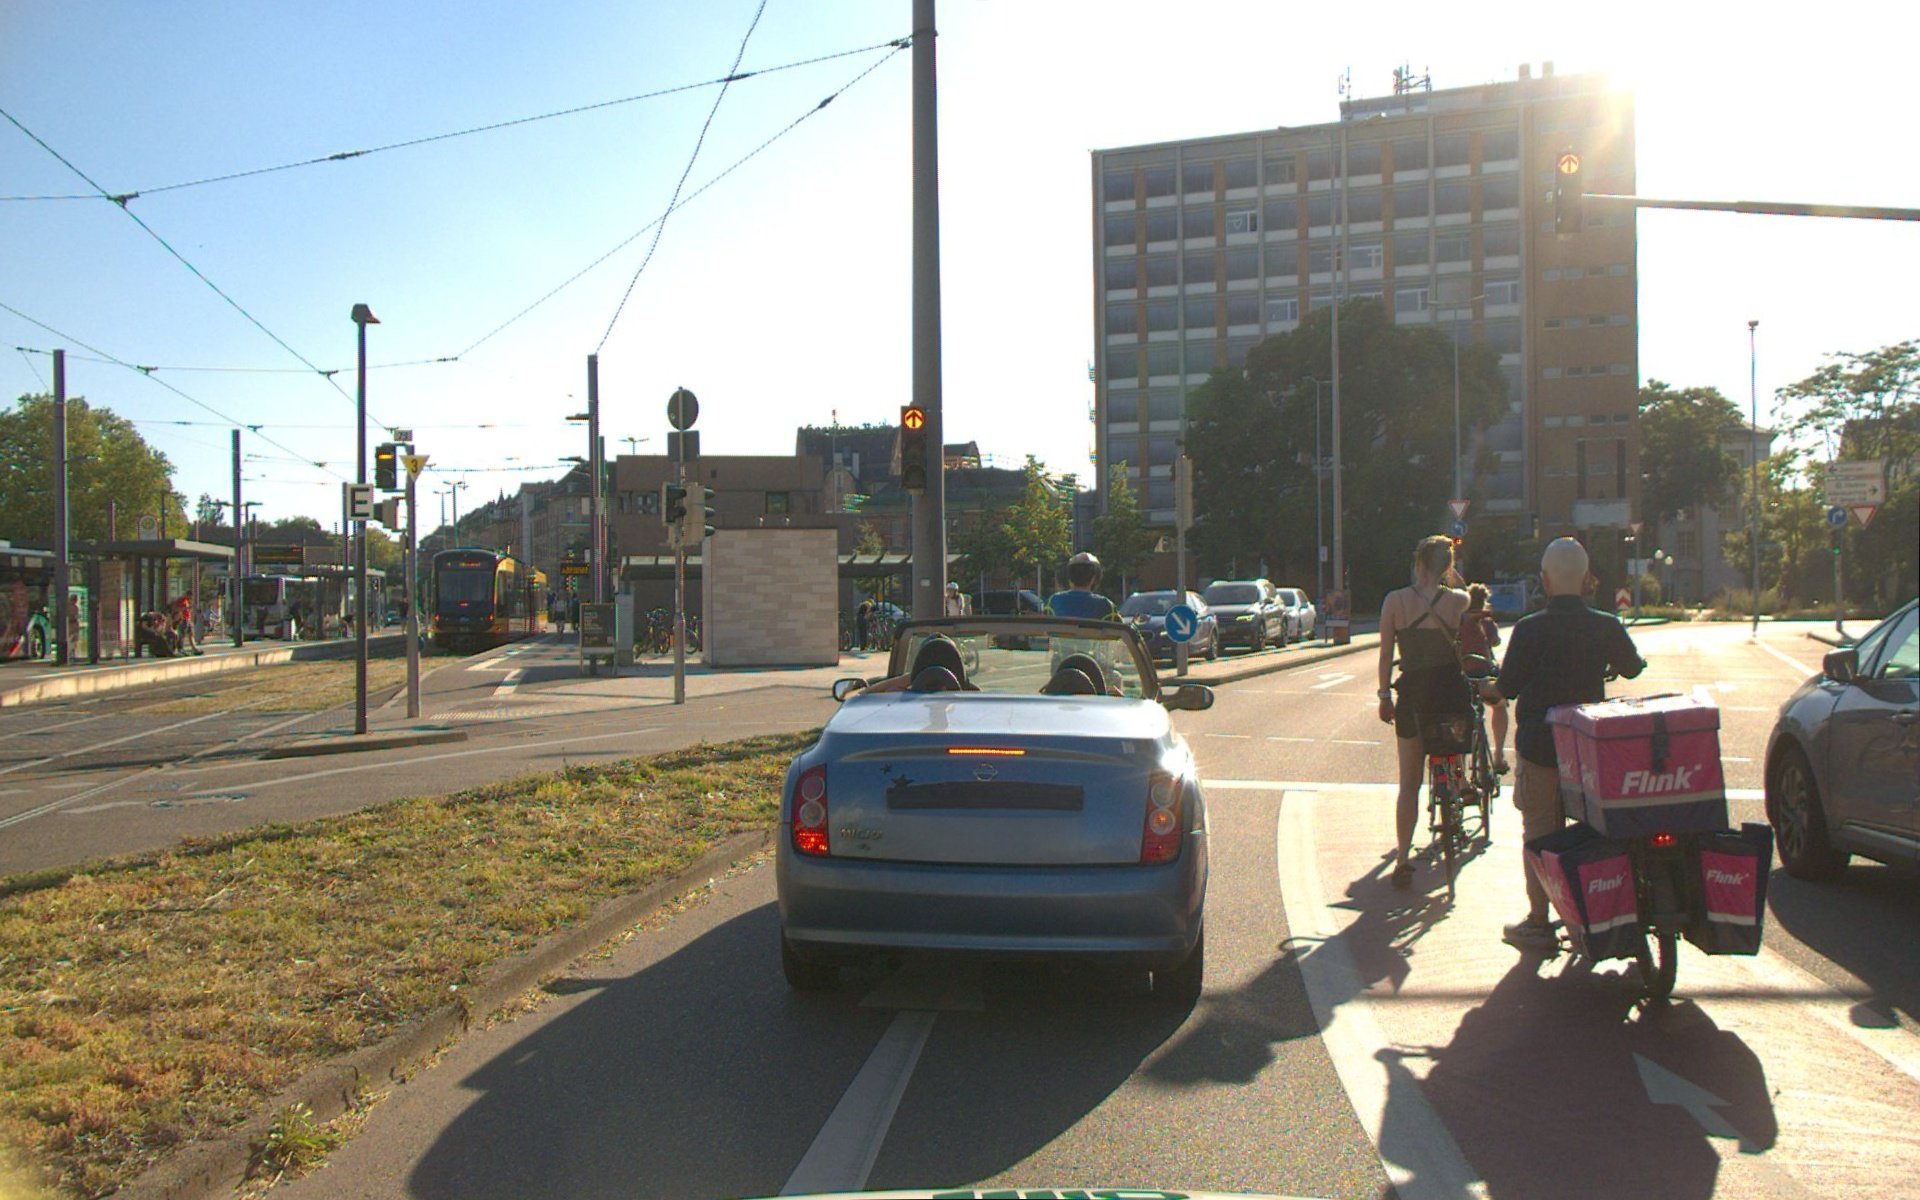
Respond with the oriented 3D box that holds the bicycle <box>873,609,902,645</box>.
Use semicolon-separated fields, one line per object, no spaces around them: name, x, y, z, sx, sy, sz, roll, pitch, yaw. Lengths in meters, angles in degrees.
bicycle;-2.338;0.867;53.190;0.596;1.134;1.890;1;0;-13

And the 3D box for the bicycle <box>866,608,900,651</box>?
bicycle;-2.111;0.783;45.216;0.596;1.134;1.890;1;0;-13

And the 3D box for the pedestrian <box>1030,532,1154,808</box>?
pedestrian;0.968;0.486;11.968;0.815;1.901;0.921;1;-1;8

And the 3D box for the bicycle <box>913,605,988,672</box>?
bicycle;-0.156;0.712;31.448;0.660;1.201;2.183;-1;0;21

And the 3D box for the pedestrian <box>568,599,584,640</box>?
pedestrian;-16.957;0.853;73.041;0.628;1.779;0.732;-1;0;-19

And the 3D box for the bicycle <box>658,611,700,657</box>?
bicycle;-7.184;0.857;42.339;0.594;1.134;1.898;1;0;5

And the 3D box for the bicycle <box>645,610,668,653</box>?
bicycle;-8.424;0.861;45.850;0.596;1.134;1.891;1;0;-11

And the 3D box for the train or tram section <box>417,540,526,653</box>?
train or tram section;-17.646;-0.105;60.409;2.831;3.659;12.161;1;0;-12

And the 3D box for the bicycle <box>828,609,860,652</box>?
bicycle;-3.162;0.824;45.058;0.596;1.134;1.890;1;0;-13

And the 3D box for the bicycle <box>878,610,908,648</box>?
bicycle;-2.088;0.886;51.222;0.596;1.134;1.890;1;0;-13

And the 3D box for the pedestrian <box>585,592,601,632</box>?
pedestrian;-16.327;0.528;73.557;0.628;1.779;0.732;-1;0;-19

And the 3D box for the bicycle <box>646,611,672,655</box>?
bicycle;-7.993;0.860;43.931;0.596;1.134;1.890;1;0;-13

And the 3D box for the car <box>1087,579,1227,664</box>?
car;4.072;0.425;33.685;1.702;1.601;3.921;1;0;25

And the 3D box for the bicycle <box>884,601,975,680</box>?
bicycle;-0.505;0.676;28.830;0.660;1.272;2.457;-3;-1;21

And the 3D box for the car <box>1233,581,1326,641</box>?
car;9.012;0.281;46.459;1.661;1.588;3.977;-1;0;25

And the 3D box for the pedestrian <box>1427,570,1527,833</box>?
pedestrian;3.381;0.631;10.852;0.575;1.626;1.025;1;-1;16

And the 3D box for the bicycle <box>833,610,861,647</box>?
bicycle;-3.624;0.898;52.963;0.596;1.134;1.890;1;0;-13

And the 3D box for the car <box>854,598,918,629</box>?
car;-3.984;0.741;88.612;1.629;1.588;3.549;-1;0;-39

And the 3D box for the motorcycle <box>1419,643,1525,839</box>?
motorcycle;3.419;0.874;11.114;0.600;1.117;2.361;1;0;16

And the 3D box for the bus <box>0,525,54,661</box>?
bus;-23.562;-0.177;37.172;2.606;3.190;9.619;1;0;-10

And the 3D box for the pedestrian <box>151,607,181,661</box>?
pedestrian;-20.094;0.857;41.869;0.606;1.364;0.438;-1;0;-18

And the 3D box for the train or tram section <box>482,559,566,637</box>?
train or tram section;-22.045;-0.068;84.258;2.984;3.659;12.024;1;0;-10

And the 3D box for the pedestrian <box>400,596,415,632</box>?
pedestrian;-27.031;0.688;80.916;0.630;1.779;0.567;-1;0;-27

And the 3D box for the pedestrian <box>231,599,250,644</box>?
pedestrian;-29.144;0.873;66.996;0.630;1.779;0.567;-1;0;-27

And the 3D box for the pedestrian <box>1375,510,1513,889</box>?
pedestrian;2.559;0.500;8.811;0.645;1.901;0.873;1;-1;14

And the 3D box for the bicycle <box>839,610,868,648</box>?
bicycle;-3.293;0.882;51.001;0.596;1.134;1.890;1;0;-13

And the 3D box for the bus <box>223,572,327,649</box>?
bus;-32.735;0.468;79.555;2.675;3.331;13.413;1;0;-14

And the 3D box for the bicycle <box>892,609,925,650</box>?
bicycle;-1.496;0.831;47.544;0.596;1.134;1.890;1;0;-13

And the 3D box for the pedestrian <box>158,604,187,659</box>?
pedestrian;-20.252;0.803;42.550;0.561;1.369;0.637;-1;0;-17

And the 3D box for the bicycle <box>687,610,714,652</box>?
bicycle;-7.279;0.862;46.336;0.596;1.134;1.890;1;0;-13

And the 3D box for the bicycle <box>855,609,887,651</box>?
bicycle;-2.559;0.844;47.140;0.596;1.134;1.890;1;0;-13

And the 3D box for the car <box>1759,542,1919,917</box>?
car;5.285;0.607;7.400;1.792;1.719;4.372;1;0;8

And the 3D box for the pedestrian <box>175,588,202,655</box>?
pedestrian;-20.707;0.583;44.408;0.561;1.779;0.637;-1;0;-17

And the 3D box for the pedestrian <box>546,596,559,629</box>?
pedestrian;-22.062;0.654;89.538;0.593;1.779;0.830;-1;0;-8

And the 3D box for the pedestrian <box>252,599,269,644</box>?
pedestrian;-27.877;0.863;65.902;0.562;1.779;0.636;-1;0;-20

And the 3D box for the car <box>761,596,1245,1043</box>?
car;0.354;0.746;7.682;1.625;1.466;4.157;1;0;6

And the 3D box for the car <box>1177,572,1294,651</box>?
car;6.702;0.247;39.842;1.726;1.736;4.529;-2;-1;23

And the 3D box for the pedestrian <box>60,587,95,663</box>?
pedestrian;-20.936;0.591;39.245;0.527;1.779;0.559;-1;0;-6

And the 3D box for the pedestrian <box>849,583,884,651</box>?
pedestrian;-2.643;0.485;46.730;0.885;1.901;0.685;1;-1;-13

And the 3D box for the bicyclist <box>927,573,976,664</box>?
bicyclist;-0.156;0.348;31.476;0.694;1.686;0.743;-1;0;21

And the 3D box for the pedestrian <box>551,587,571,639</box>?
pedestrian;-13.943;0.450;57.800;0.628;1.779;0.569;-1;0;-19

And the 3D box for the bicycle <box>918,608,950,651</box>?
bicycle;-0.731;0.808;45.539;0.595;1.134;1.892;1;0;-10

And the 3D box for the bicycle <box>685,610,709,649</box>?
bicycle;-7.979;0.894;50.200;0.596;1.134;1.890;1;0;-13

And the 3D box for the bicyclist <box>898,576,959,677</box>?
bicyclist;-0.543;0.456;28.762;0.694;1.686;0.901;-3;-1;21

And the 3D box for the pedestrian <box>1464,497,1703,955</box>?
pedestrian;2.762;0.523;7.427;0.789;1.901;0.957;1;-1;8

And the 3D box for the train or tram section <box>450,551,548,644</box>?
train or tram section;-19.980;-0.083;72.363;2.957;3.659;12.169;1;0;-10

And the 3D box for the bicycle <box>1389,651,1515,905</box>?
bicycle;2.637;0.888;8.999;0.552;1.171;1.951;1;0;14

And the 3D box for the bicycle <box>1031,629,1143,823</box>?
bicycle;0.952;0.831;11.899;0.595;1.212;2.416;1;0;9

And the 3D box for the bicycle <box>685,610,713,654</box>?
bicycle;-6.989;0.845;44.277;0.596;1.134;1.890;1;0;-13

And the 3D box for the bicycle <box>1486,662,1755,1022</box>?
bicycle;2.728;0.901;7.075;0.542;1.192;2.374;1;0;9
